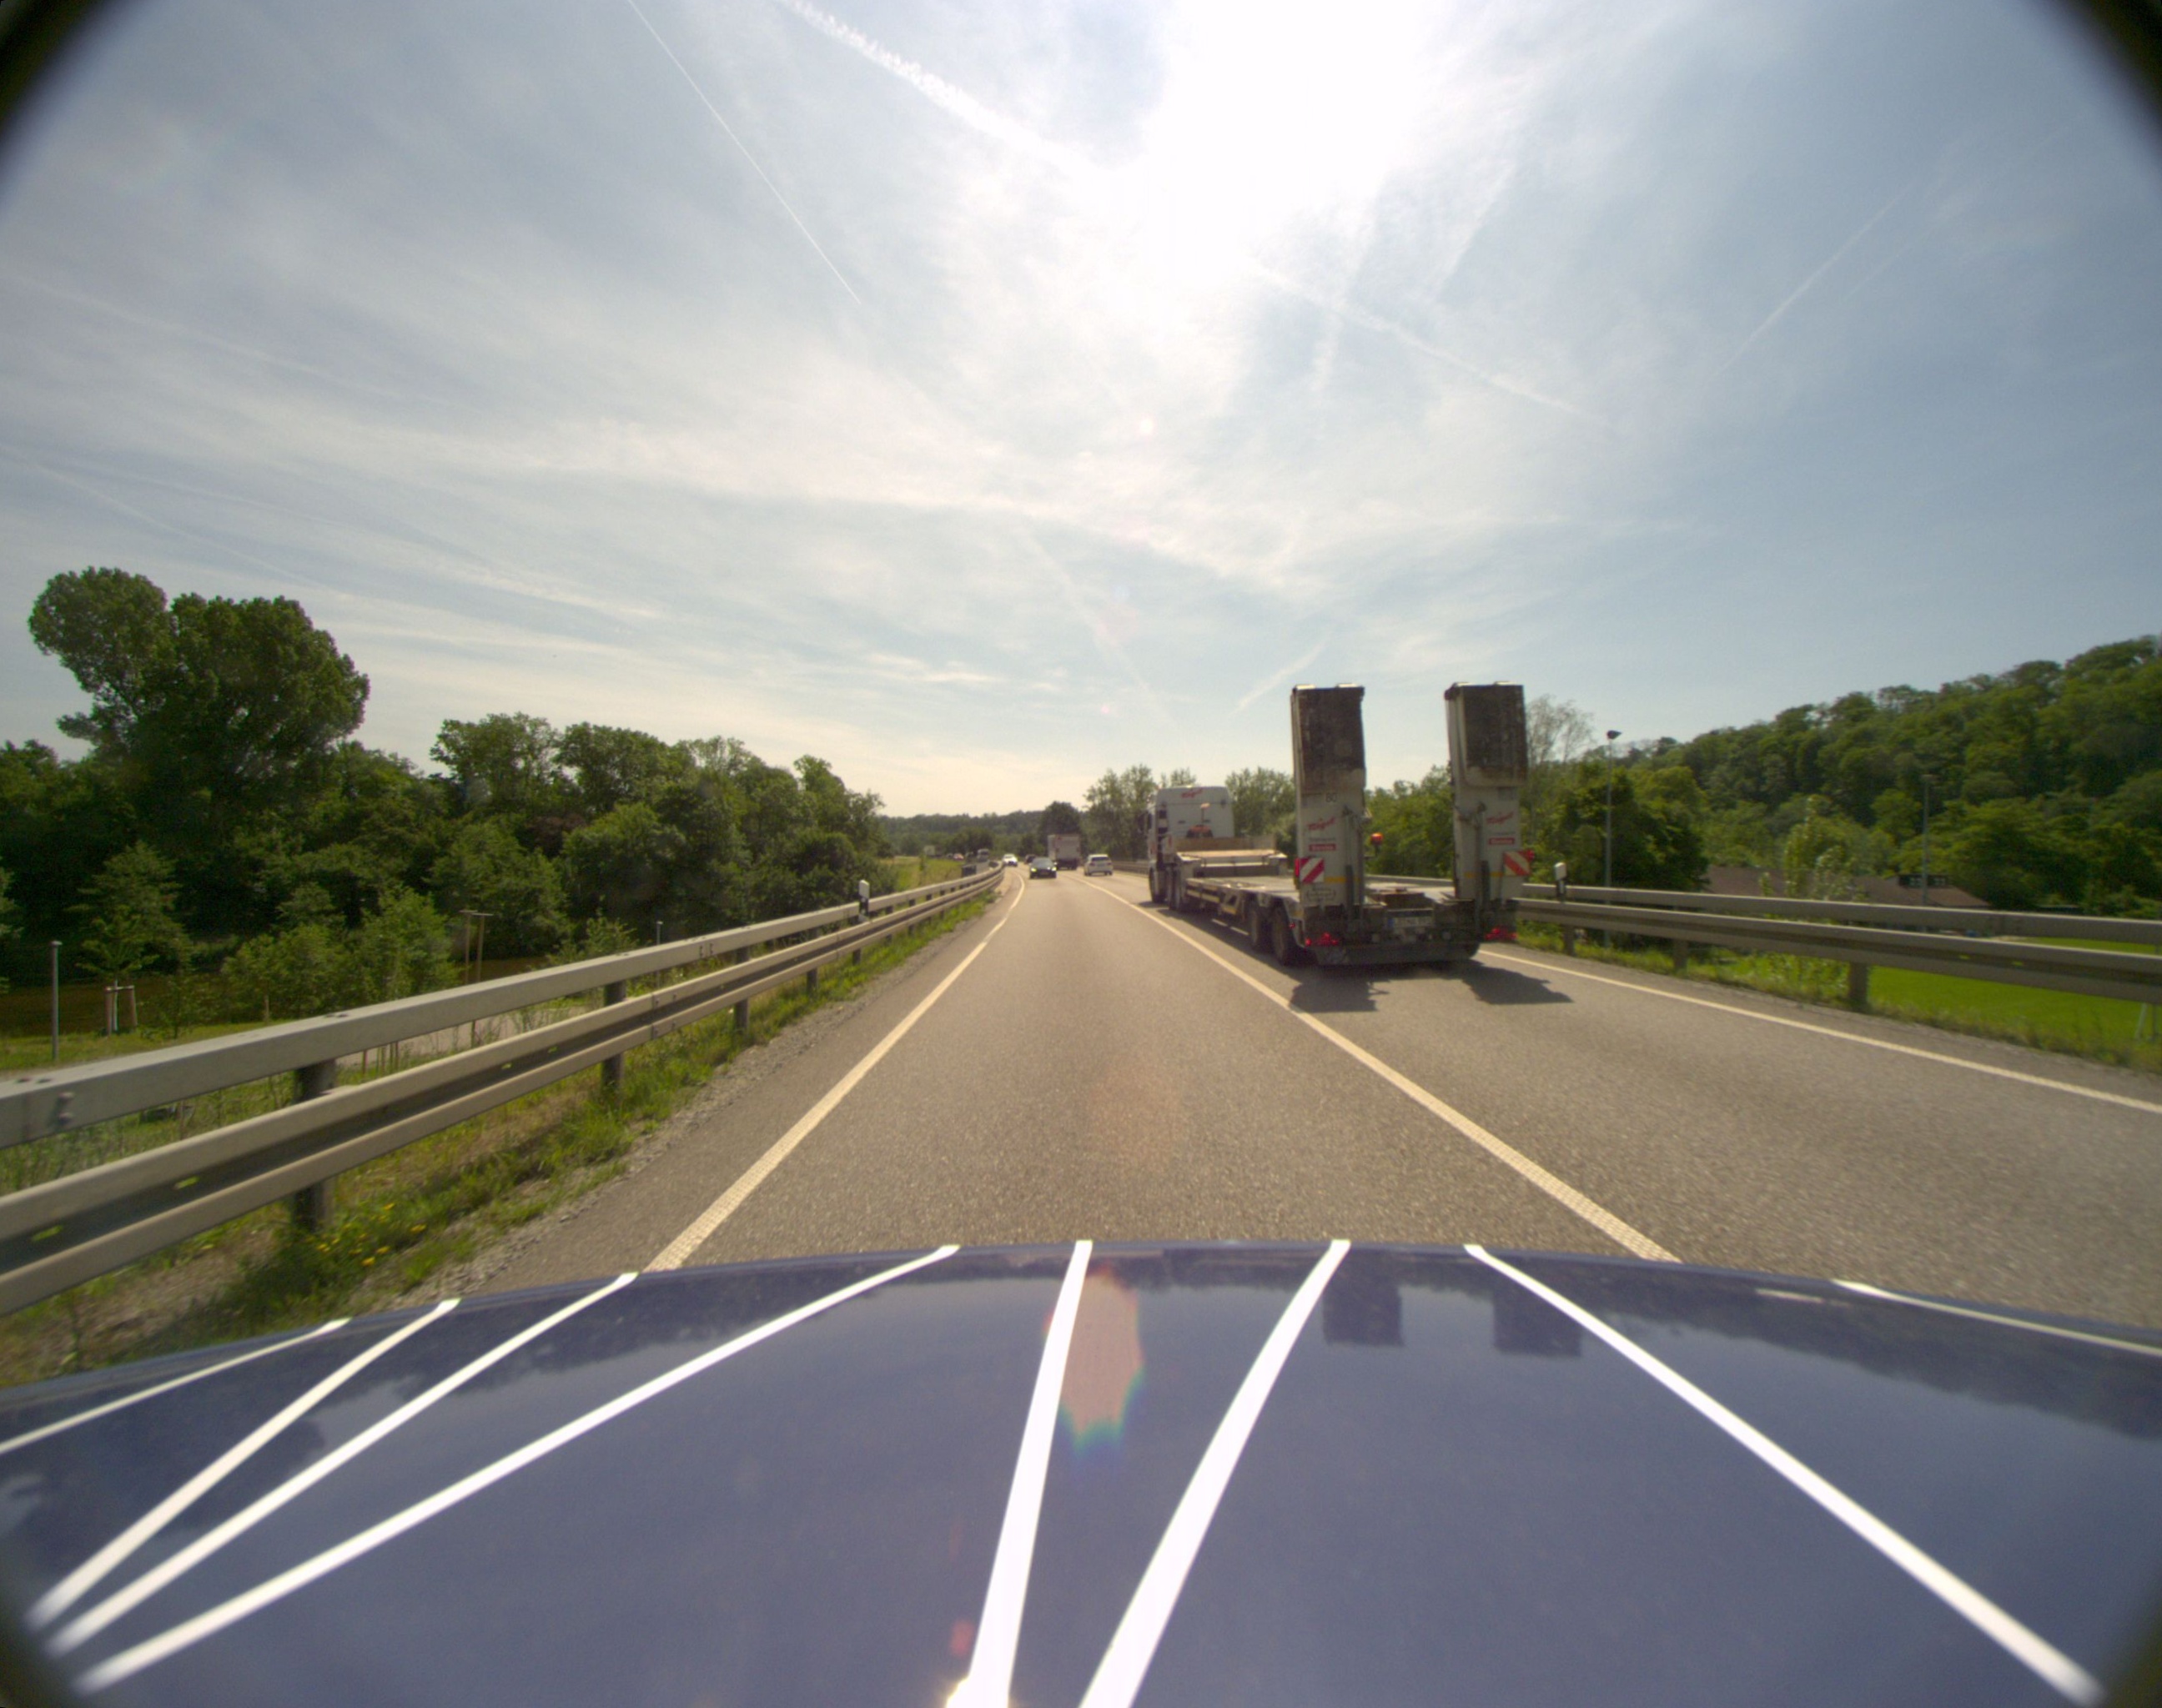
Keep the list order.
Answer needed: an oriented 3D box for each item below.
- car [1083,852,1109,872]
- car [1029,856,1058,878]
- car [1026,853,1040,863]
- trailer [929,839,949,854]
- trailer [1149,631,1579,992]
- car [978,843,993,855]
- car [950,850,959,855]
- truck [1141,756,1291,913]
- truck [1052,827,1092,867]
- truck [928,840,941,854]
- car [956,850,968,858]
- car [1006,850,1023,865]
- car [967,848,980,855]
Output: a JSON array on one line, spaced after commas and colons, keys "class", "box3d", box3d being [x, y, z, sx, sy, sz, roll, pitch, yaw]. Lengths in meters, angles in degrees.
[{"class": "car", "box3d": [1.152, 0.623, 61.079, 1.763, 1.503, 3.998, -2, 0, -4]}, {"class": "car", "box3d": [-2.694, 0.889, 53.817, 1.981, 1.333, 3.998, -2, 1, -4]}, {"class": "car", "box3d": [-7.485, 0.633, 118.410, 1.726, 1.474, 4.565, -2, 1, -10]}, {"class": "trailer", "box3d": [-44.597, -2.249, 237.985, 2.865, 4.163, 14.469, -2, 0, -23]}, {"class": "trailer", "box3d": [3.854, -0.492, 16.144, 3.126, 3.956, 15.354, -1, 0, -1]}, {"class": "car", "box3d": [-21.704, -1.130, 172.581, 2.188, 2.545, 5.786, -2, 2, -19]}, {"class": "car", "box3d": [-36.267, -0.524, 218.050, 1.669, 1.449, 3.887, 2, -1, -22]}, {"class": "truck", "box3d": [3.731, -0.510, 22.764, 3.126, 3.934, 6.621, -1, 0, -1]}, {"class": "truck", "box3d": [-1.042, -0.643, 77.222, 2.924, 3.781, 9.701, -2, 0, -7]}, {"class": "truck", "box3d": [-47.147, -2.205, 244.024, 2.858, 4.136, 6.318, -2, 1, -23]}, {"class": "car", "box3d": [-28.447, -0.064, 181.426, 1.984, 1.722, 3.993, -1, 0, -23]}, {"class": "car", "box3d": [-9.029, 0.449, 102.994, 1.982, 1.779, 3.996, -2, 2, -9]}, {"class": "car", "box3d": [-26.877, -0.690, 190.152, 1.861, 1.788, 4.966, -2, 2, -24]}]
